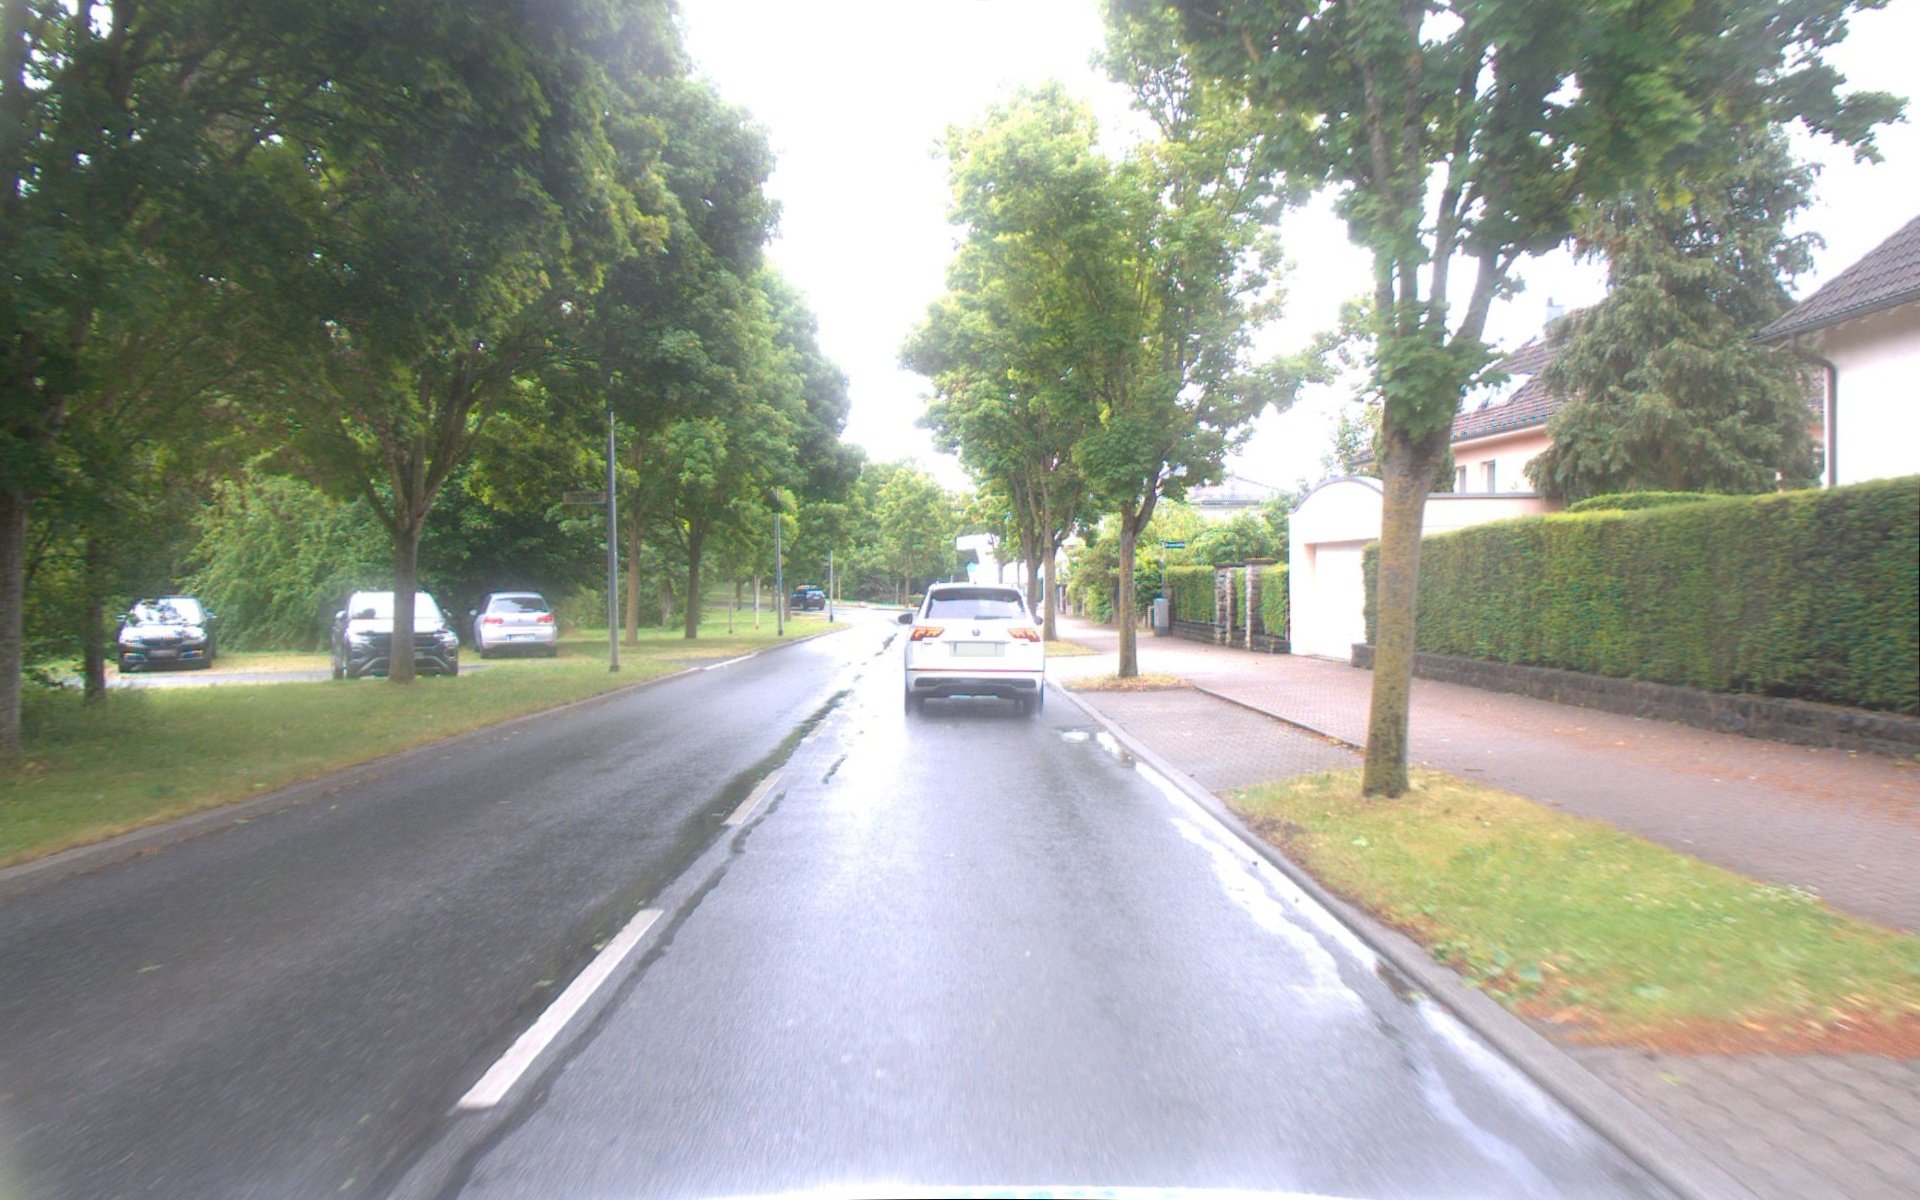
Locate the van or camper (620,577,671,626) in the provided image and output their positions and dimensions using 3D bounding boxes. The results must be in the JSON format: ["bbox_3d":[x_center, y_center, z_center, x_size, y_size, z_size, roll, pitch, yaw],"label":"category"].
[{"bbox_3d":[-16.774,0.068,88.504,2.340,2.402,6.798,-2,0,-8],"label":"van or camper"}]

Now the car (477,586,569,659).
[{"bbox_3d":[-10.470,0.495,39.431,1.852,1.454,4.196,-2,3,-18],"label":"car"}]

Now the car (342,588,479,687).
[{"bbox_3d":[-9.273,0.579,28.198,1.856,1.540,4.234,0,0,-14],"label":"car"}]

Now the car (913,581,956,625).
[{"bbox_3d":[-1.260,0.147,81.084,1.864,2.049,3.941,1,0,-4],"label":"car"}]

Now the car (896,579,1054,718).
[{"bbox_3d":[0.186,0.578,22.355,1.933,1.681,4.177,0,0,0],"label":"car"}]

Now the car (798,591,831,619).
[{"bbox_3d":[-10.877,0.371,123.323,1.869,2.049,3.930,1,0,-14],"label":"car"}]

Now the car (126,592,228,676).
[{"bbox_3d":[-17.251,0.699,36.610,1.837,1.534,4.574,-2,3,-23],"label":"car"}]
